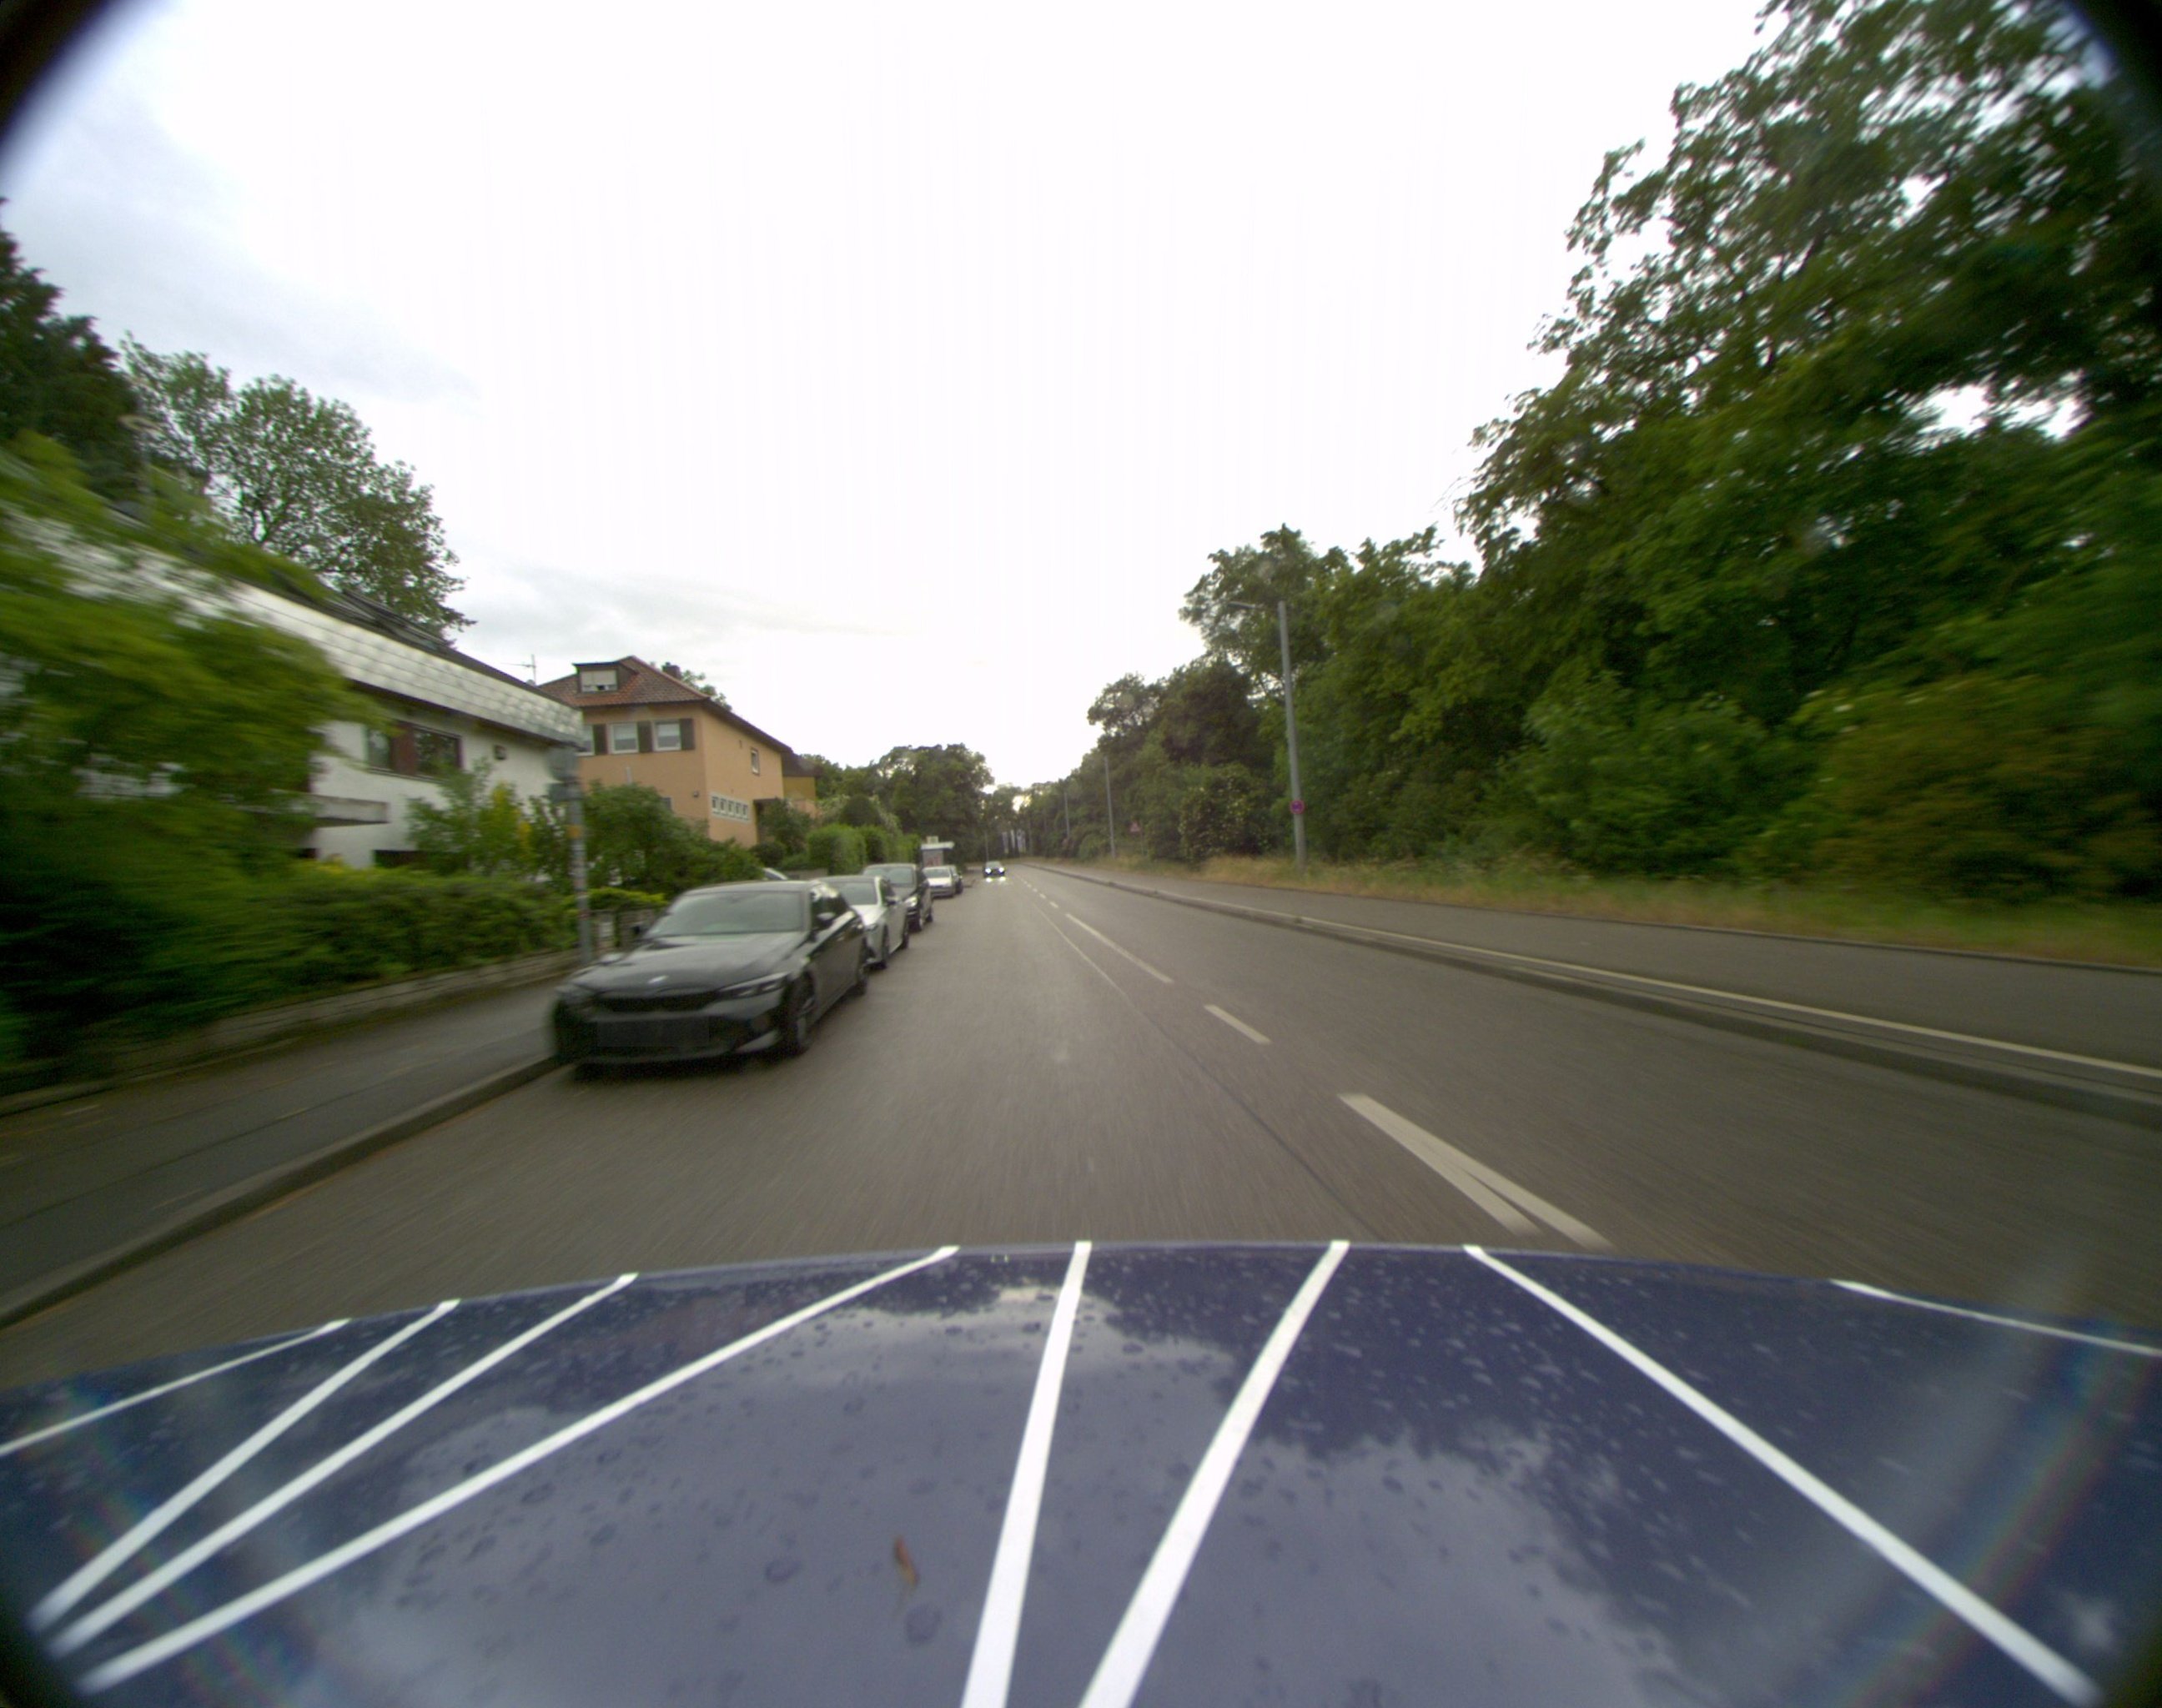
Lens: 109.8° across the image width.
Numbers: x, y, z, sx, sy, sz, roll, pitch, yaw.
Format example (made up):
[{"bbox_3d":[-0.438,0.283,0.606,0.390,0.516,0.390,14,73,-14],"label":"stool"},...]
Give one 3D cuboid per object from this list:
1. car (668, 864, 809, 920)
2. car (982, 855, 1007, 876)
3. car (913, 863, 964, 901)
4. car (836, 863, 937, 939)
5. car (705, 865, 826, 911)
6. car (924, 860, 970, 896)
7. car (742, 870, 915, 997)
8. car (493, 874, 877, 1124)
[{"bbox_3d":[-10.845,1.169,24.306,3.669,1.557,1.881,-2,1,-7],"label":"car"},{"bbox_3d":[-7.892,1.026,69.813,1.999,1.714,3.998,-3,0,-4],"label":"car"},{"bbox_3d":[-6.446,1.231,34.801,1.818,1.390,4.100,-3,1,-5],"label":"car"},{"bbox_3d":[-4.680,1.059,18.911,1.735,1.558,4.519,-3,0,-6],"label":"car"},{"bbox_3d":[-11.222,1.177,27.279,3.670,1.527,1.827,0,0,-9],"label":"car"},{"bbox_3d":[-6.916,1.182,39.491,1.835,1.538,4.627,-3,1,-5],"label":"car"},{"bbox_3d":[-3.979,1.144,12.779,1.798,1.478,4.491,-3,1,-7],"label":"car"},{"bbox_3d":[-3.342,1.062,7.579,1.757,1.435,4.597,-3,1,-6],"label":"car"}]
